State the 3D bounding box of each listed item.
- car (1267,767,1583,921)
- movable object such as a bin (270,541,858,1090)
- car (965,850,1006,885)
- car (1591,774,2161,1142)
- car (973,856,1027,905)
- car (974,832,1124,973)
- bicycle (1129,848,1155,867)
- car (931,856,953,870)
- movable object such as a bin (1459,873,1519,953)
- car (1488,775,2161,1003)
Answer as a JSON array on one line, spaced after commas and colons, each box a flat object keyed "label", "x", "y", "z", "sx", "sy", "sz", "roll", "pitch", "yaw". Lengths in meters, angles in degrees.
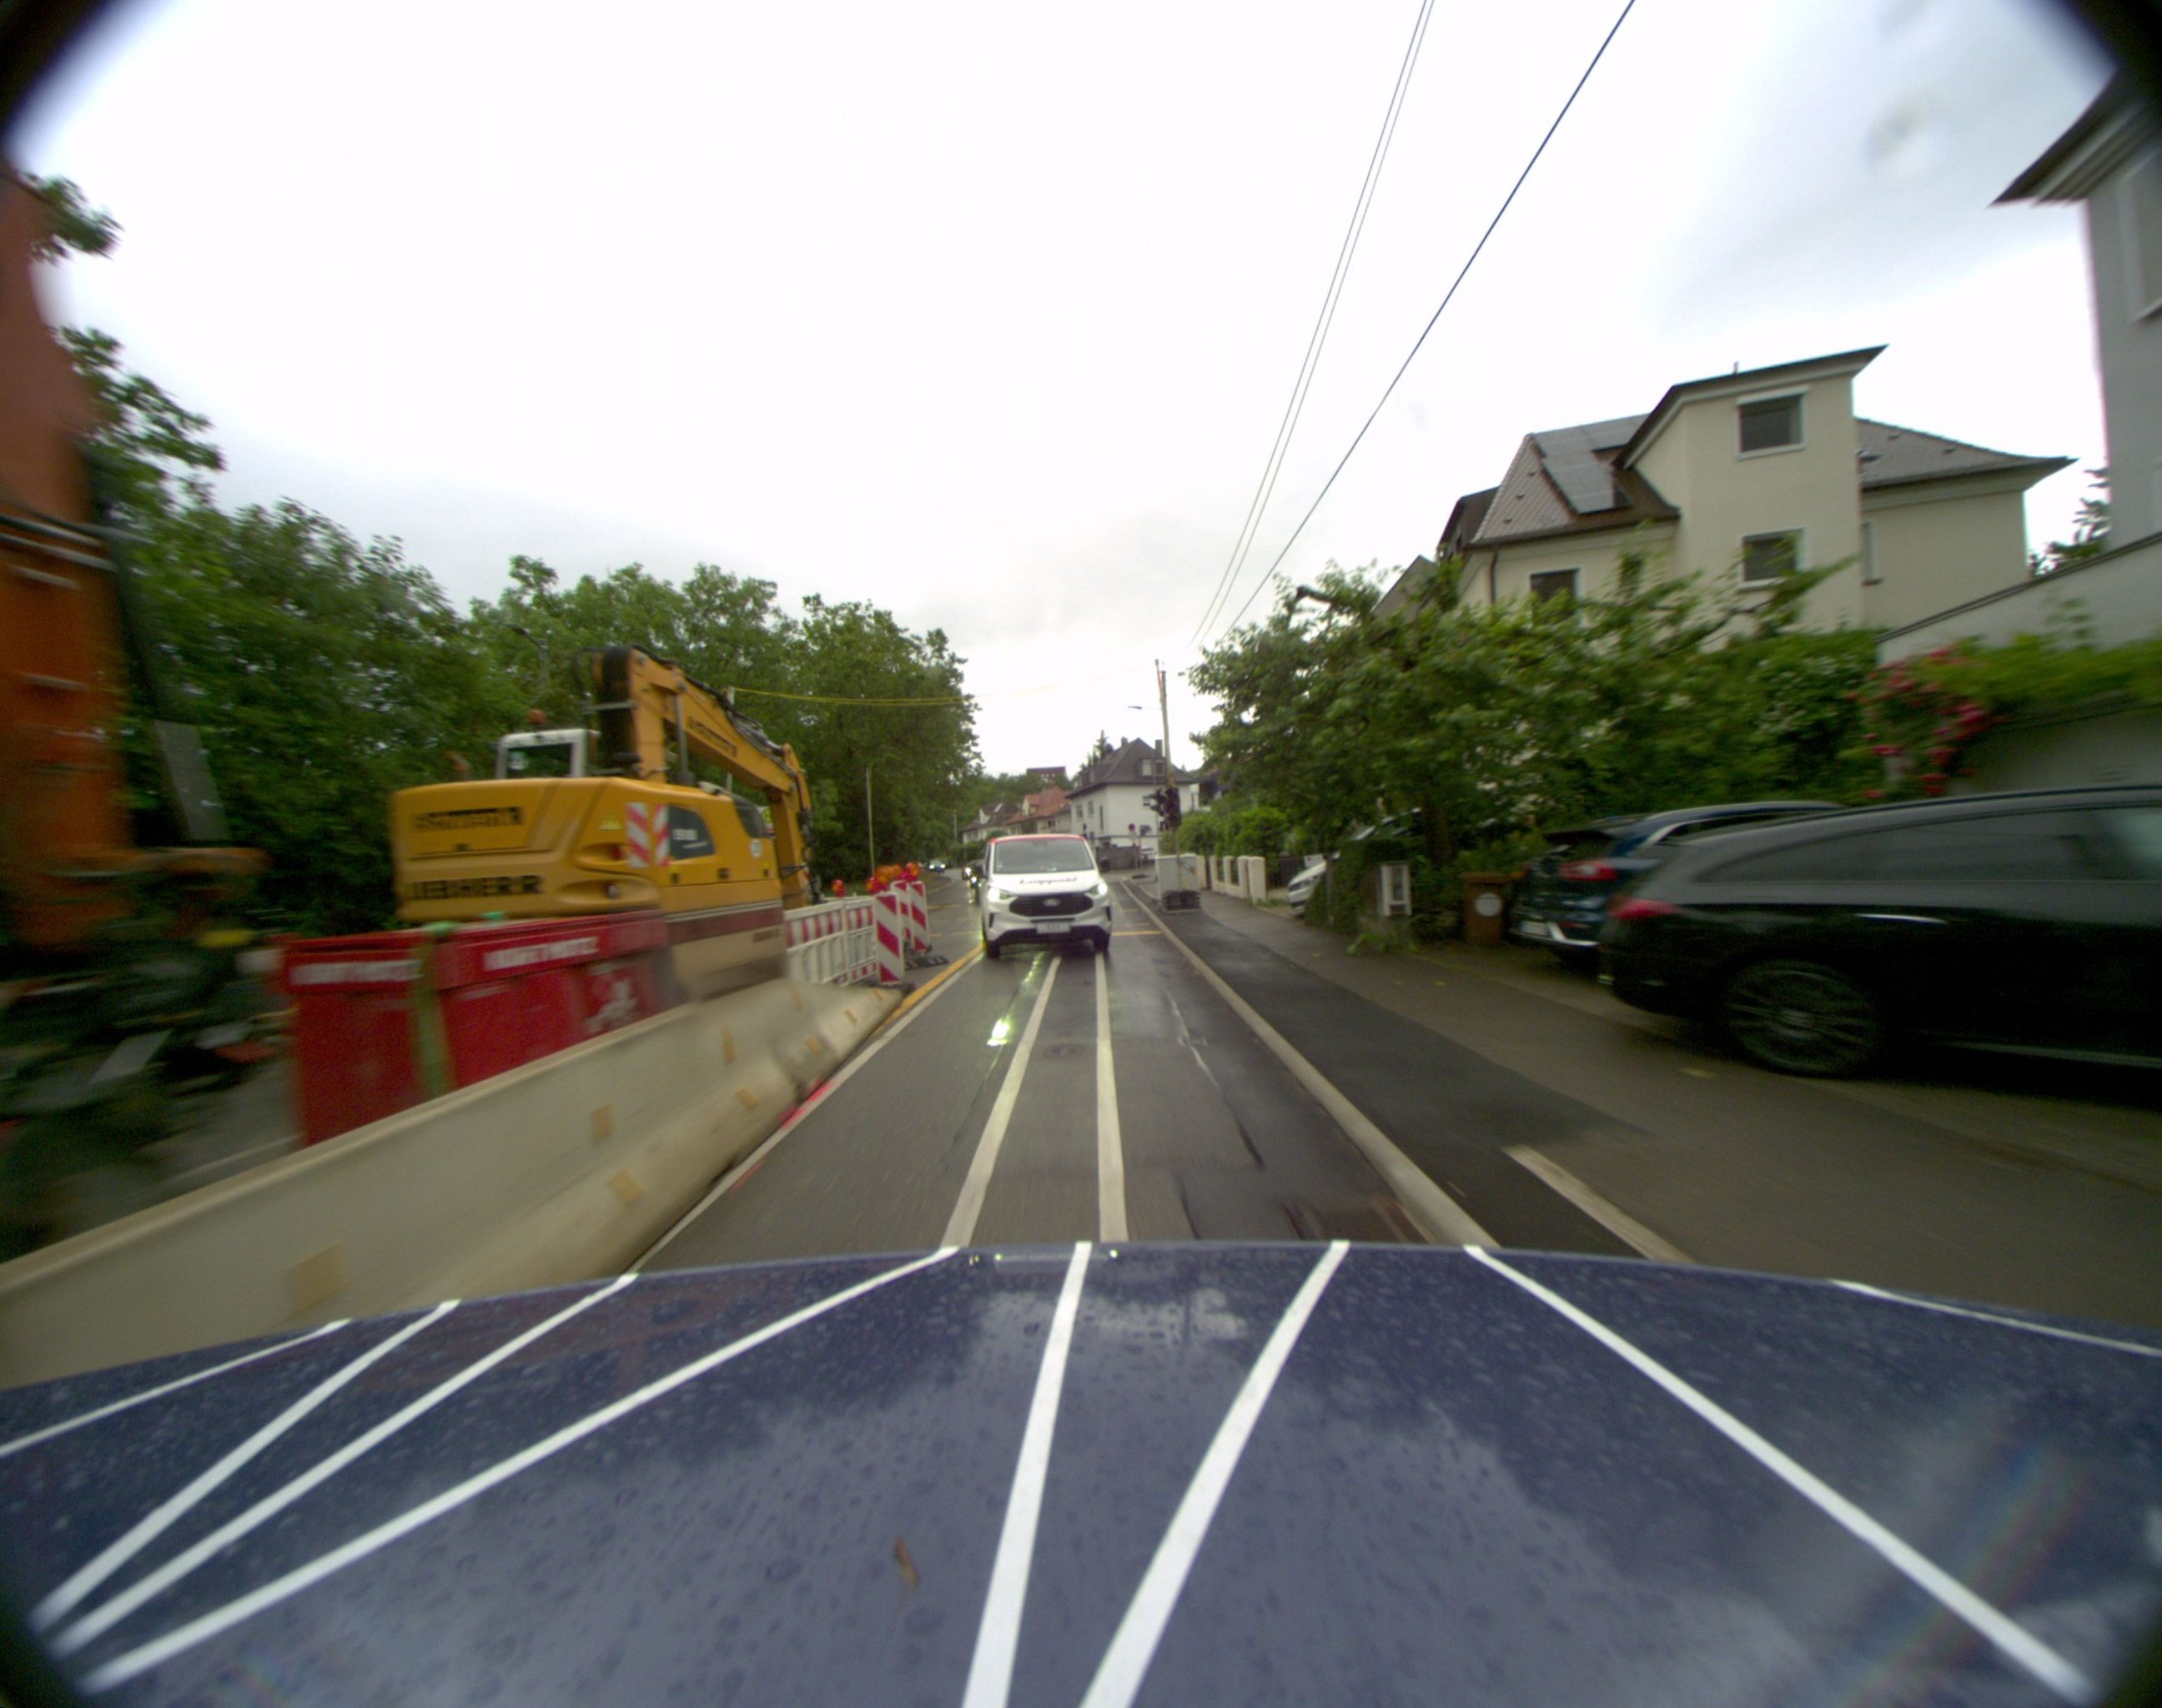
[{"label": "car", "x": 6.264, "y": -0.134, "z": 14.478, "sx": 4.972, "sy": 1.607, "sz": 1.865, "roll": -14, "pitch": -2, "yaw": 11}, {"label": "movable object such as a bin", "x": -4.715, "y": -0.259, "z": 8.158, "sx": 2.885, "sy": 4.146, "sz": 4.488, "roll": -3, "pitch": 0, "yaw": 4}, {"label": "car", "x": -5.617, "y": 0.757, "z": 44.367, "sx": 1.954, "sy": 1.797, "sz": 3.922, "roll": -5, "pitch": 1, "yaw": -12}, {"label": "car", "x": 5.163, "y": 0.392, "z": 3.767, "sx": 1.789, "sy": 1.517, "sz": 3.990, "roll": -6, "pitch": 2, "yaw": -42}, {"label": "car", "x": -3.090, "y": 0.981, "z": 29.520, "sx": 1.540, "sy": 1.565, "sz": 3.648, "roll": -4, "pitch": 1, "yaw": 1}, {"label": "car", "x": -0.779, "y": 0.666, "z": 13.613, "sx": 2.047, "sy": 1.883, "sz": 5.205, "roll": -5, "pitch": 1, "yaw": -7}, {"label": "bicycle", "x": 4.648, "y": 0.232, "z": 58.099, "sx": 1.733, "sy": 1.304, "sz": 0.706, "roll": -5, "pitch": 2, "yaw": -11}, {"label": "car", "x": -16.460, "y": 1.072, "z": 89.928, "sx": 1.825, "sy": 1.328, "sz": 3.625, "roll": -4, "pitch": 1, "yaw": 1}, {"label": "movable object such as a bin", "x": 5.020, "y": 0.720, "z": 9.373, "sx": 0.505, "sy": 0.926, "sz": 0.505, "roll": -3, "pitch": 2, "yaw": 14}, {"label": "car", "x": 6.165, "y": 0.290, "z": 6.788, "sx": 3.994, "sy": 1.517, "sz": 1.942, "roll": -4, "pitch": 2, "yaw": 10}]
